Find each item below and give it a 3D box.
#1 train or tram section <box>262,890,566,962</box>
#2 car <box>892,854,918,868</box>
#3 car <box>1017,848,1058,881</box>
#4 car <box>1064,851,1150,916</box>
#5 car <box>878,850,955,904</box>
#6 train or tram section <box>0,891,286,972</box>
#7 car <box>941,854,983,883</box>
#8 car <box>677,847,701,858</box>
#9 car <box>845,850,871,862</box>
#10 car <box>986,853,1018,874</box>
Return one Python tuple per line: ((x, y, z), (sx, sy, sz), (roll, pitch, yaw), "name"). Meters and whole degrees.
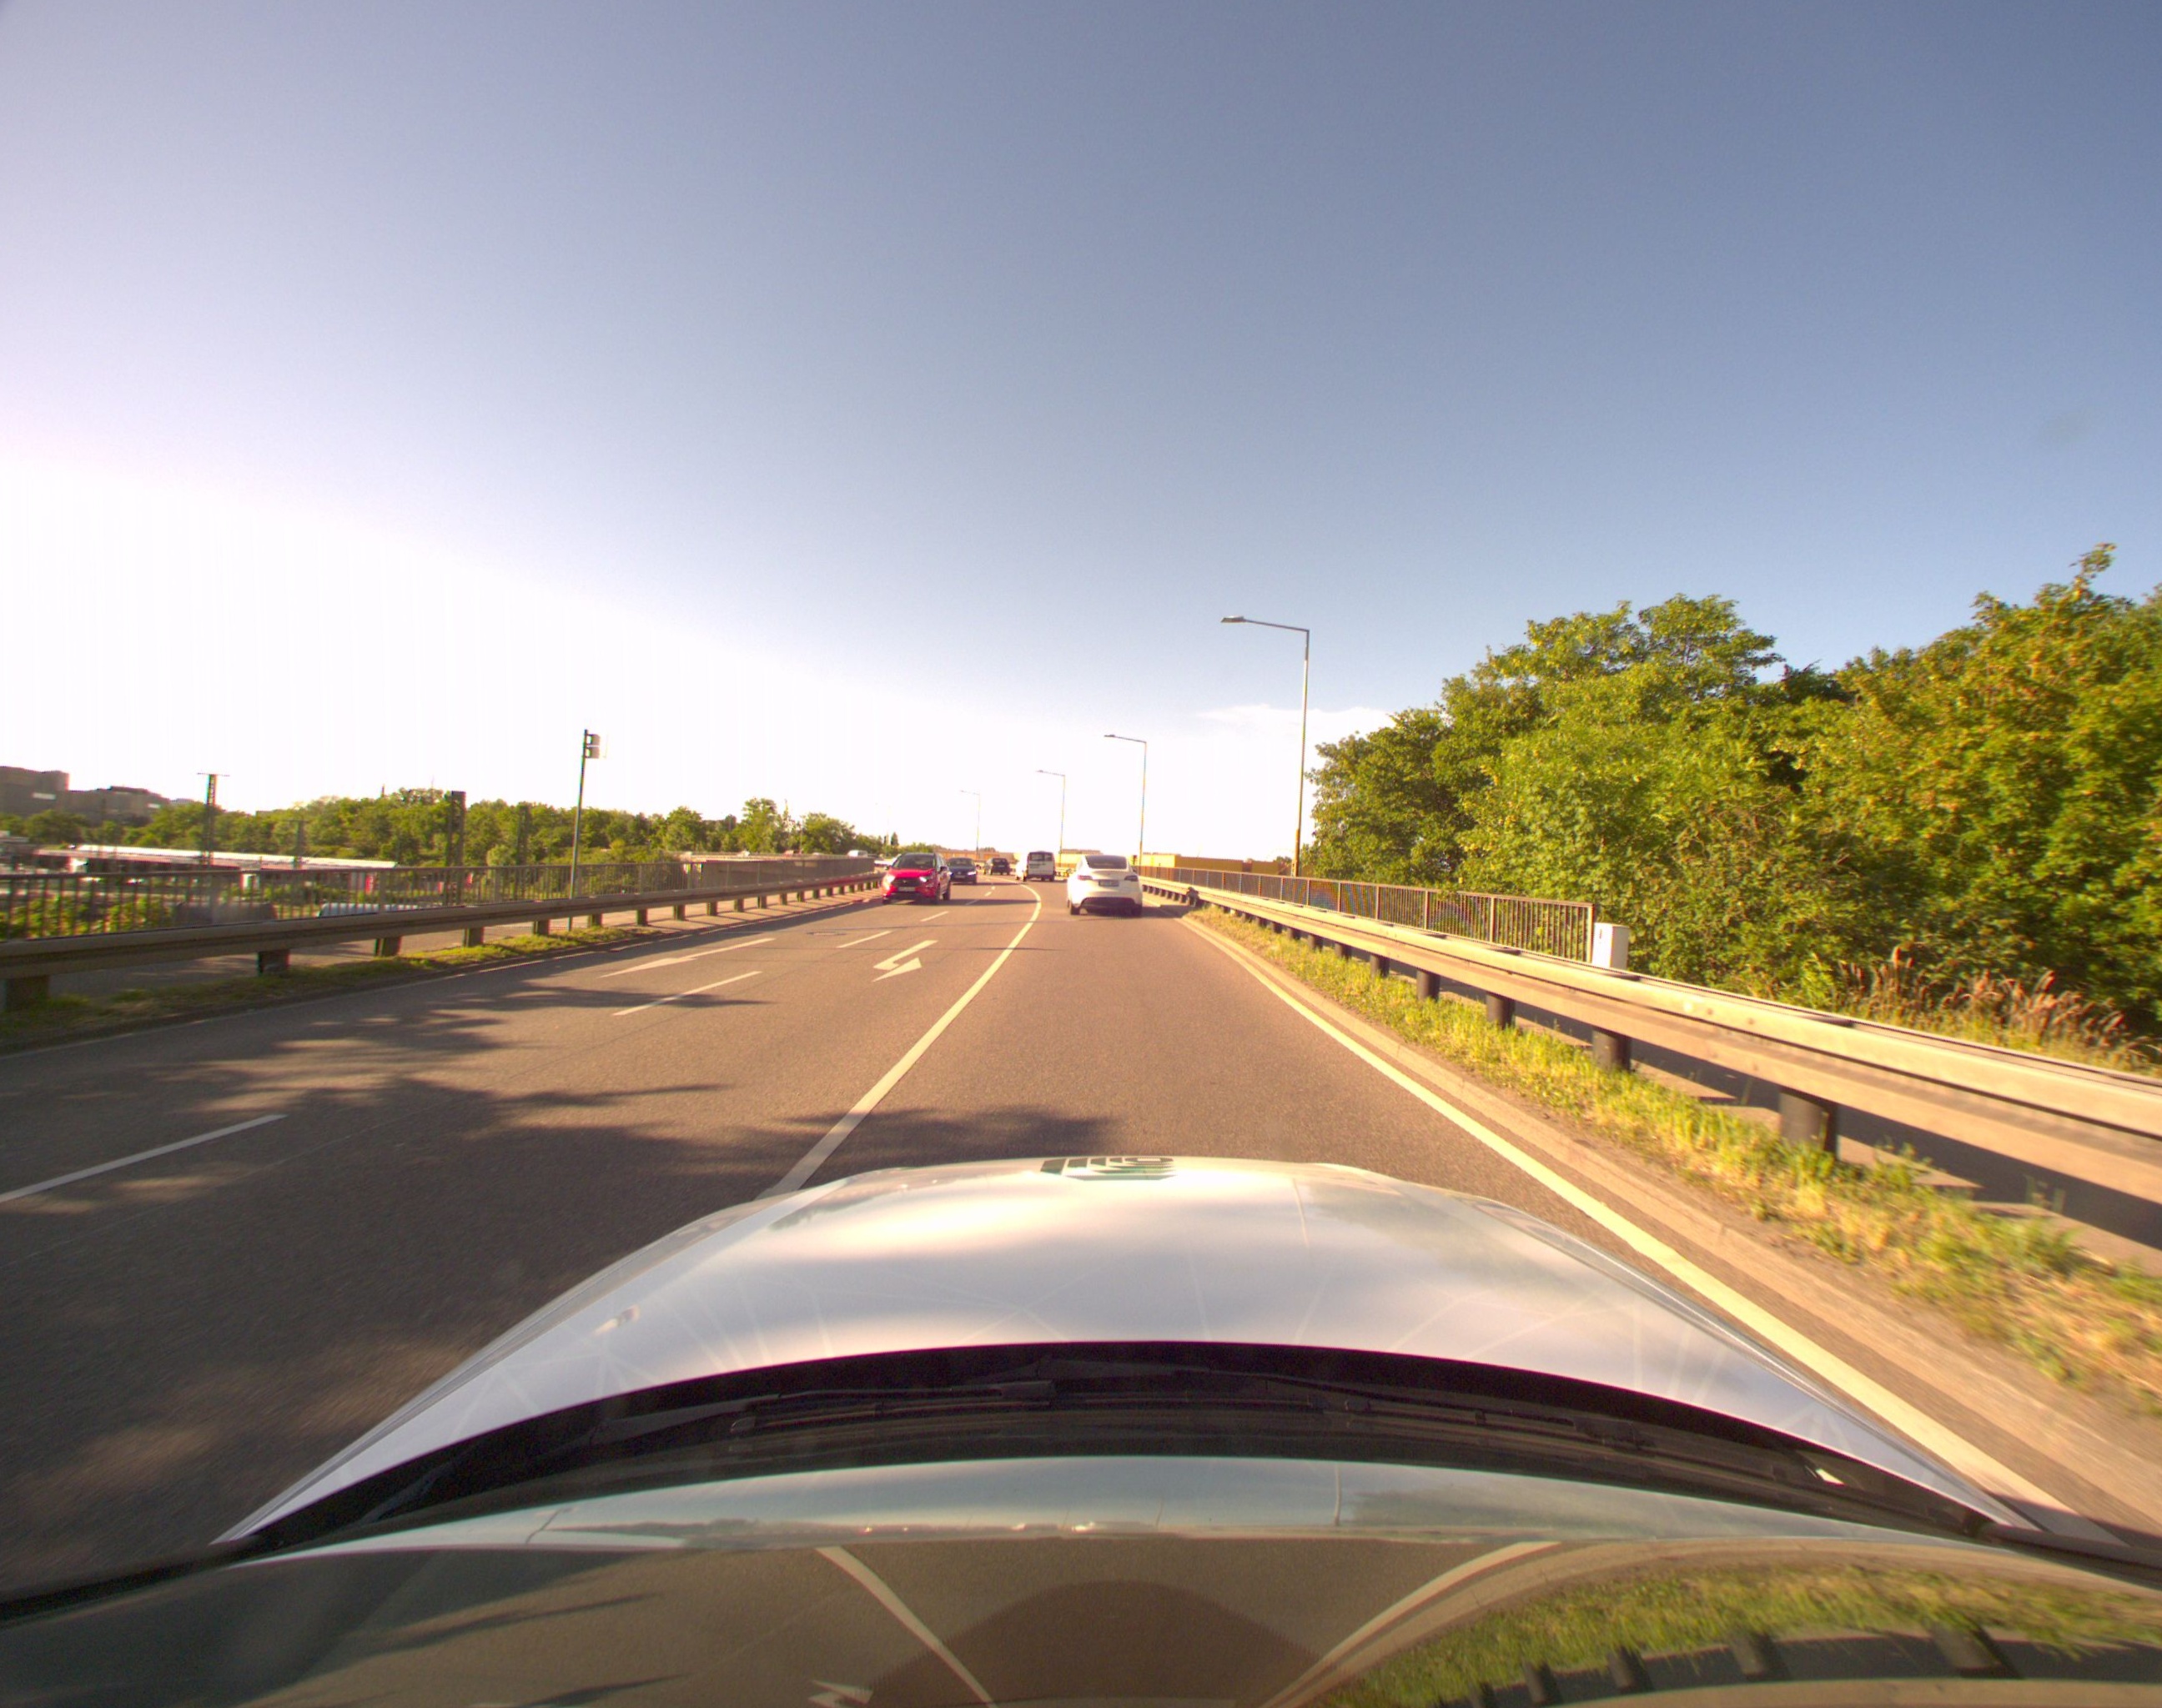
((-48.259, 5.070, 60.210), (16.813, 4.591, 3.870), (1, 0, -29), "train or tram section")
((-20.991, 0.812, 97.045), (1.871, 1.585, 3.876), (1, 0, -31), "car")
((-2.682, 0.616, 49.606), (2.005, 1.940, 4.452), (1, 0, -10), "car")
((0.624, 0.752, 22.745), (1.982, 1.638, 4.056), (0, 0, -4), "car")
((-5.336, 0.716, 26.901), (1.799, 1.638, 3.997), (1, 0, -2), "car")
((-62.712, 4.798, 52.148), (16.355, 4.591, 3.870), (1, 0, -29), "train or tram section")
((-6.337, 0.740, 43.767), (1.719, 1.486, 4.404), (1, 0, -2), "car")
((-71.105, -0.333, 147.778), (3.950, 1.950, 1.974), (1, 0, 27), "car")
((-30.594, 0.258, 111.596), (1.851, 1.555, 3.847), (1, 0, -42), "car")
((-6.379, 0.728, 65.560), (1.971, 1.638, 3.981), (0, 0, -14), "car")
